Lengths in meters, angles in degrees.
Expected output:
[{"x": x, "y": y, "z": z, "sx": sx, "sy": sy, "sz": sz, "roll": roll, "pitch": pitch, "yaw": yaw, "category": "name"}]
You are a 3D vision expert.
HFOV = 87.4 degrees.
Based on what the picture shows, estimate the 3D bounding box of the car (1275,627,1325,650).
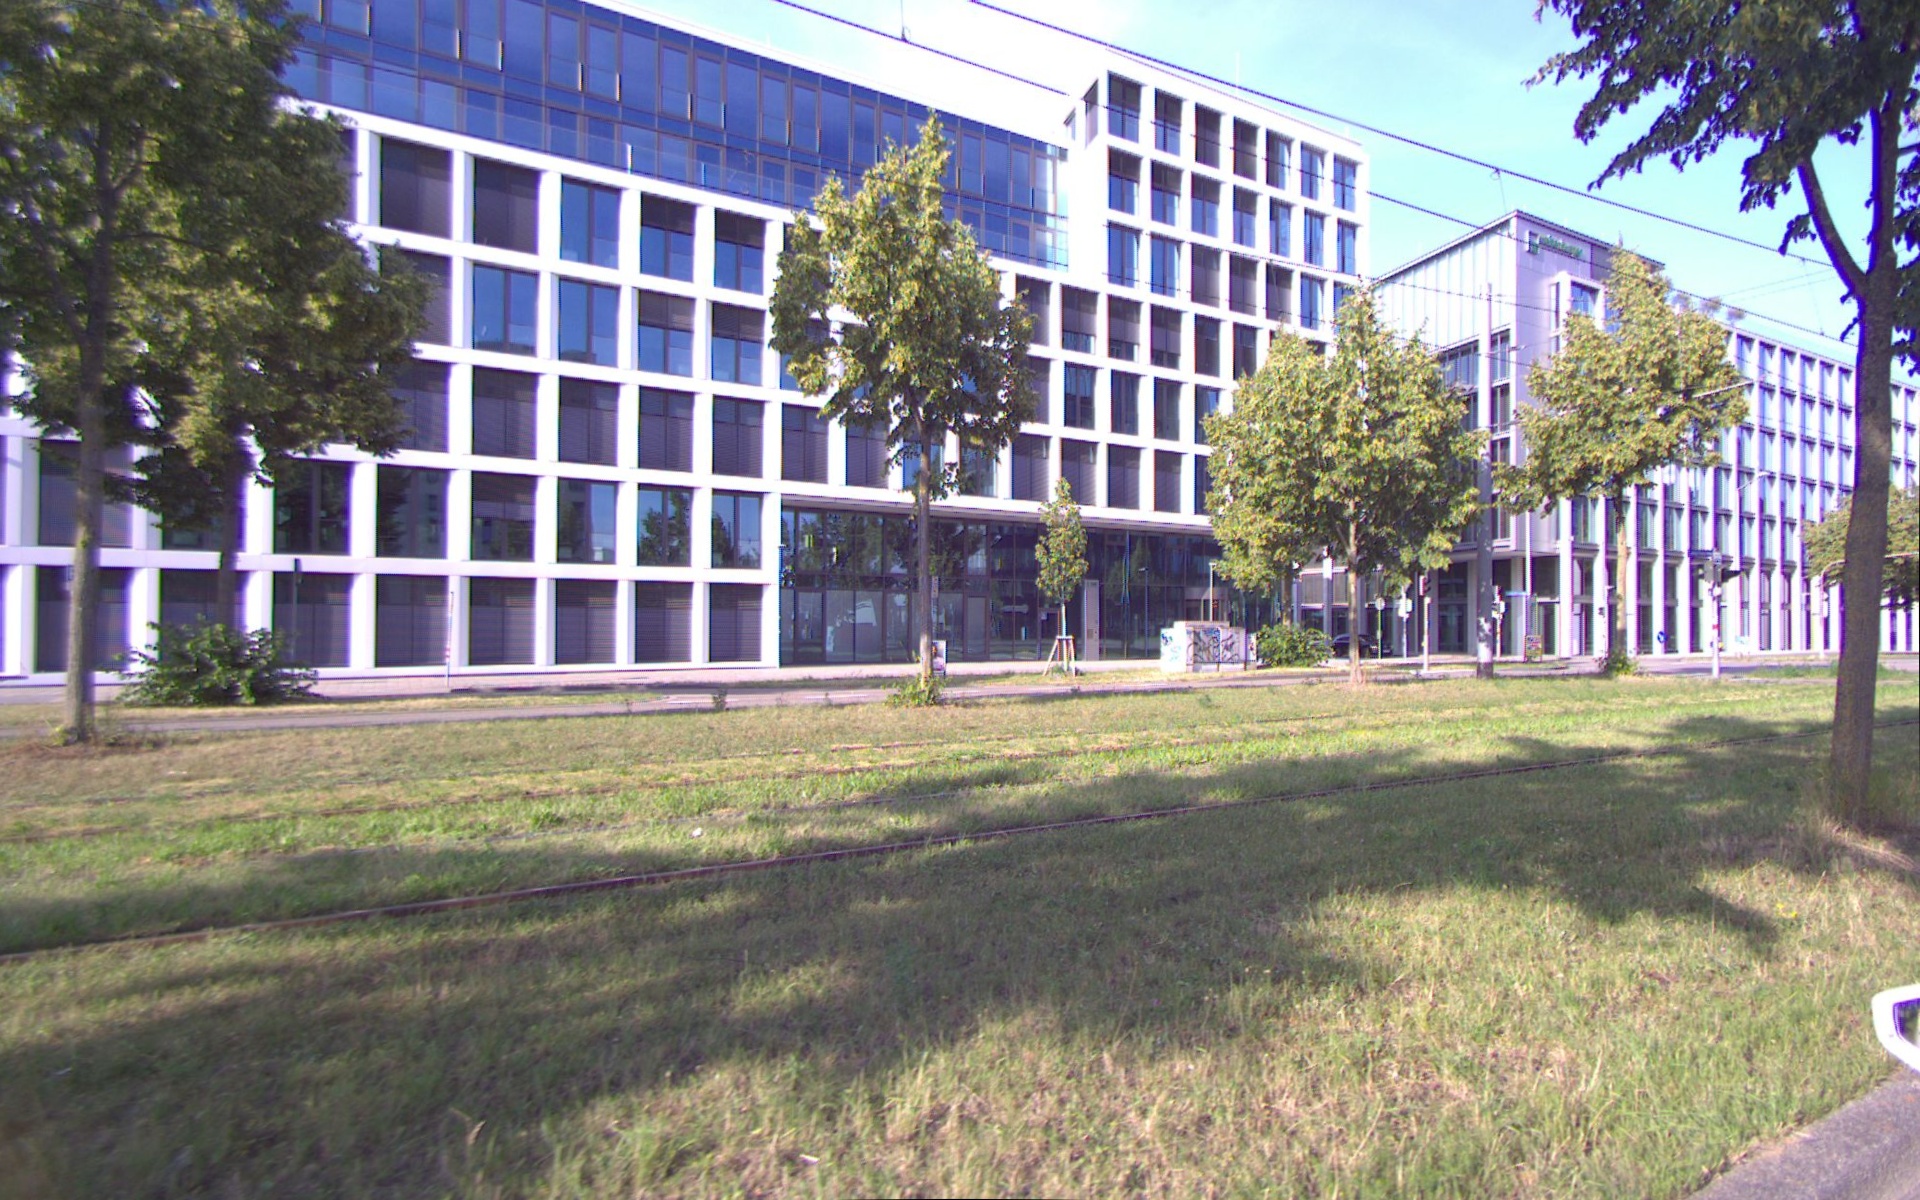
[{"x": 23.790, "y": 2.671, "z": 70.340, "sx": 1.549, "sy": 1.443, "sz": 3.667, "roll": 2, "pitch": 0, "yaw": -15, "category": "car"}]

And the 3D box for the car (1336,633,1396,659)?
[{"x": 25.638, "y": 2.870, "z": 63.519, "sx": 1.551, "sy": 1.443, "sz": 3.497, "roll": 2, "pitch": 0, "yaw": -19, "category": "car"}]
